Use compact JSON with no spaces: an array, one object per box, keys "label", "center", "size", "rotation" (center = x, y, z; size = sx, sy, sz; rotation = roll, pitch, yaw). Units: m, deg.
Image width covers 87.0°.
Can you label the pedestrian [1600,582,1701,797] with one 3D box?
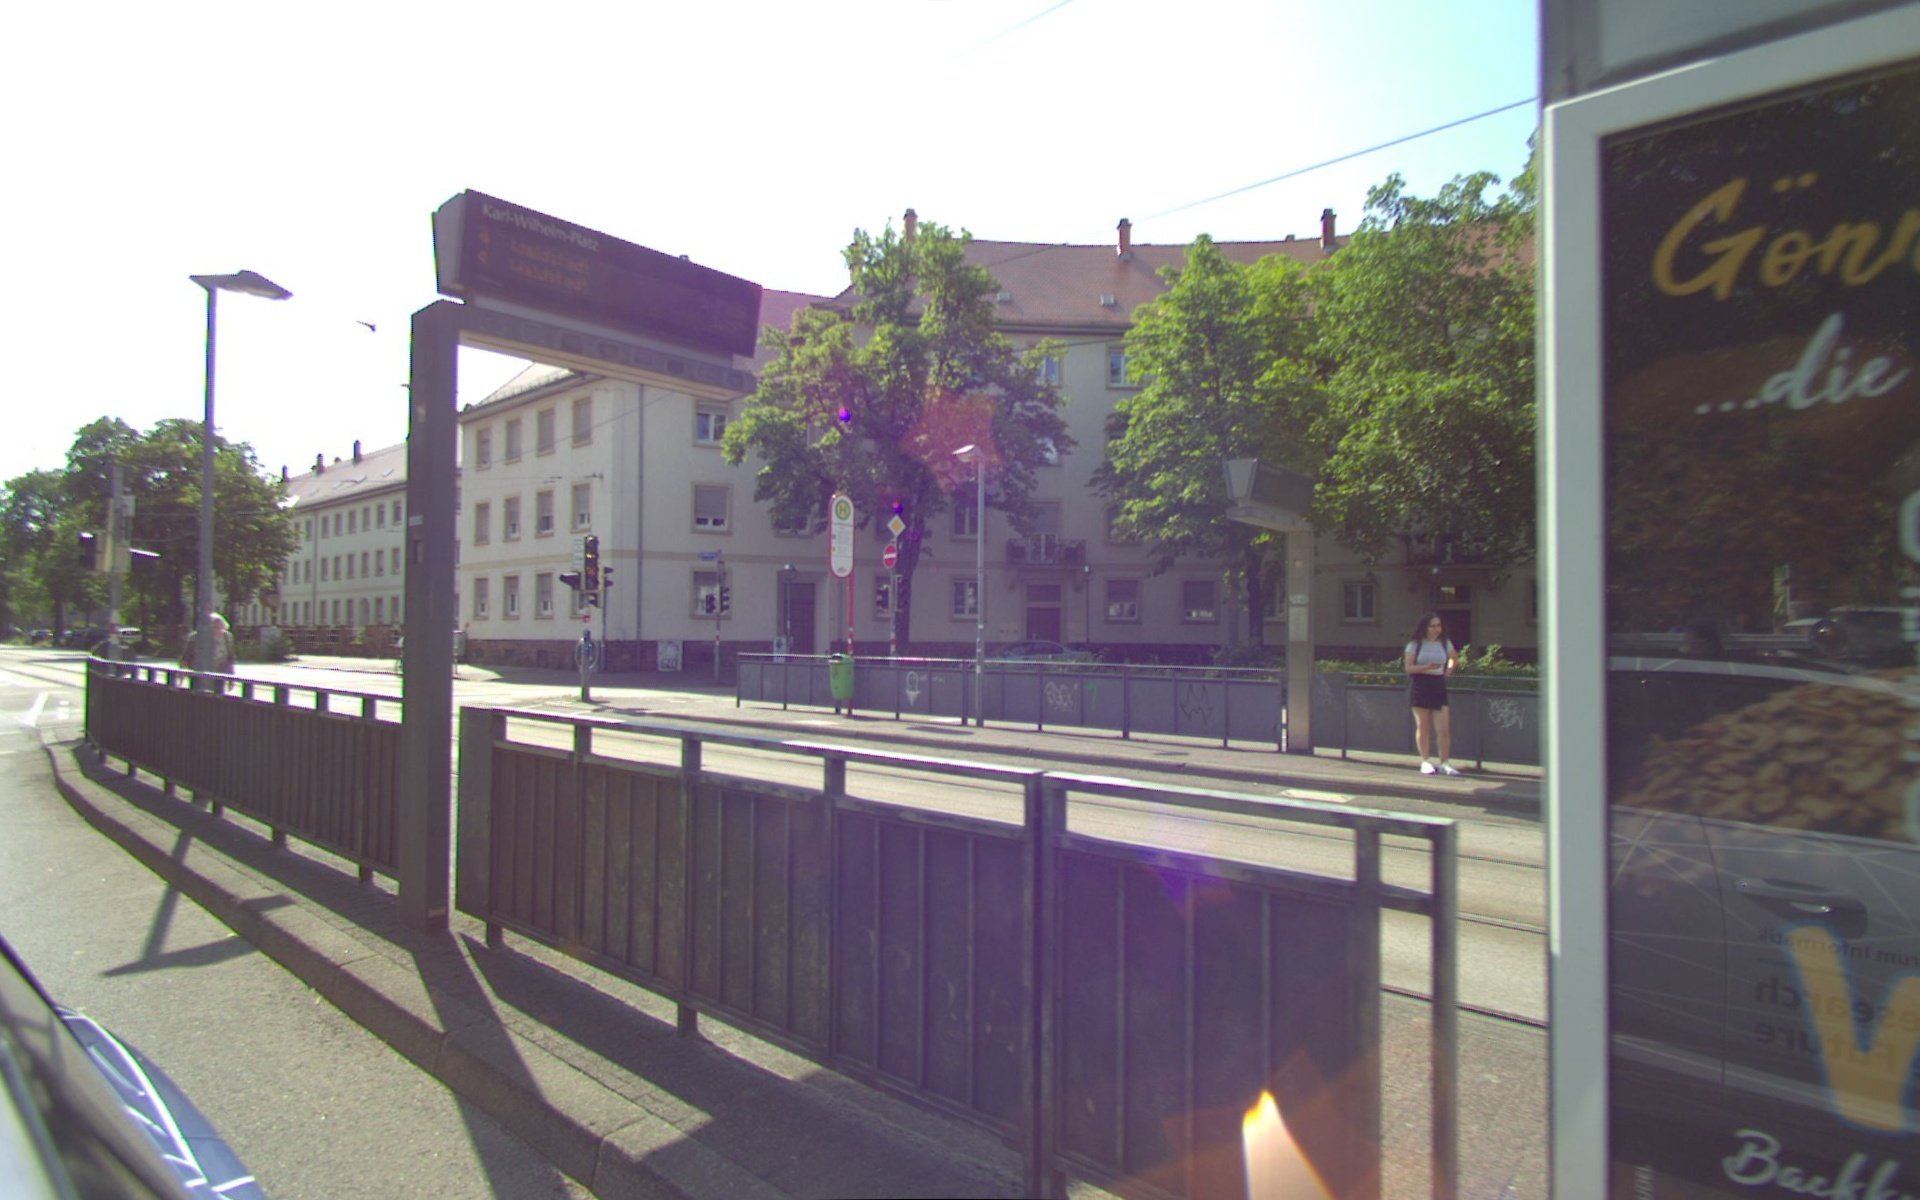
[{"label":"pedestrian","center":[5.522,0.693,8.101],"size":[0.637,1.619,0.650],"rotation":[0,-4,35]}]

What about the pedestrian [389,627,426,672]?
[{"label":"pedestrian","center":[-18.390,1.636,33.663],"size":[0.805,1.485,0.795],"rotation":[-1,-3,37]}]

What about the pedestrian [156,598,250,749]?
[{"label":"pedestrian","center":[-8.064,0.752,10.789],"size":[0.557,1.544,0.693],"rotation":[-1,0,41]}]

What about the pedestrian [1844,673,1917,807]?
[{"label":"pedestrian","center":[6.802,1.019,7.492],"size":[0.345,0.937,0.336],"rotation":[0,-4,35]}]

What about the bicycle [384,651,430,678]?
[{"label":"bicycle","center":[-18.376,2.123,33.604],"size":[1.616,0.855,0.746],"rotation":[-1,-3,37]}]

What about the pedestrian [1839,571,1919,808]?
[{"label":"pedestrian","center":[6.936,0.649,7.414],"size":[0.677,1.682,0.492],"rotation":[0,-4,36]}]

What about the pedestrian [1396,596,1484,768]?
[{"label":"pedestrian","center":[4.846,0.812,10.209],"size":[0.638,1.654,0.649],"rotation":[-1,-5,41]}]
